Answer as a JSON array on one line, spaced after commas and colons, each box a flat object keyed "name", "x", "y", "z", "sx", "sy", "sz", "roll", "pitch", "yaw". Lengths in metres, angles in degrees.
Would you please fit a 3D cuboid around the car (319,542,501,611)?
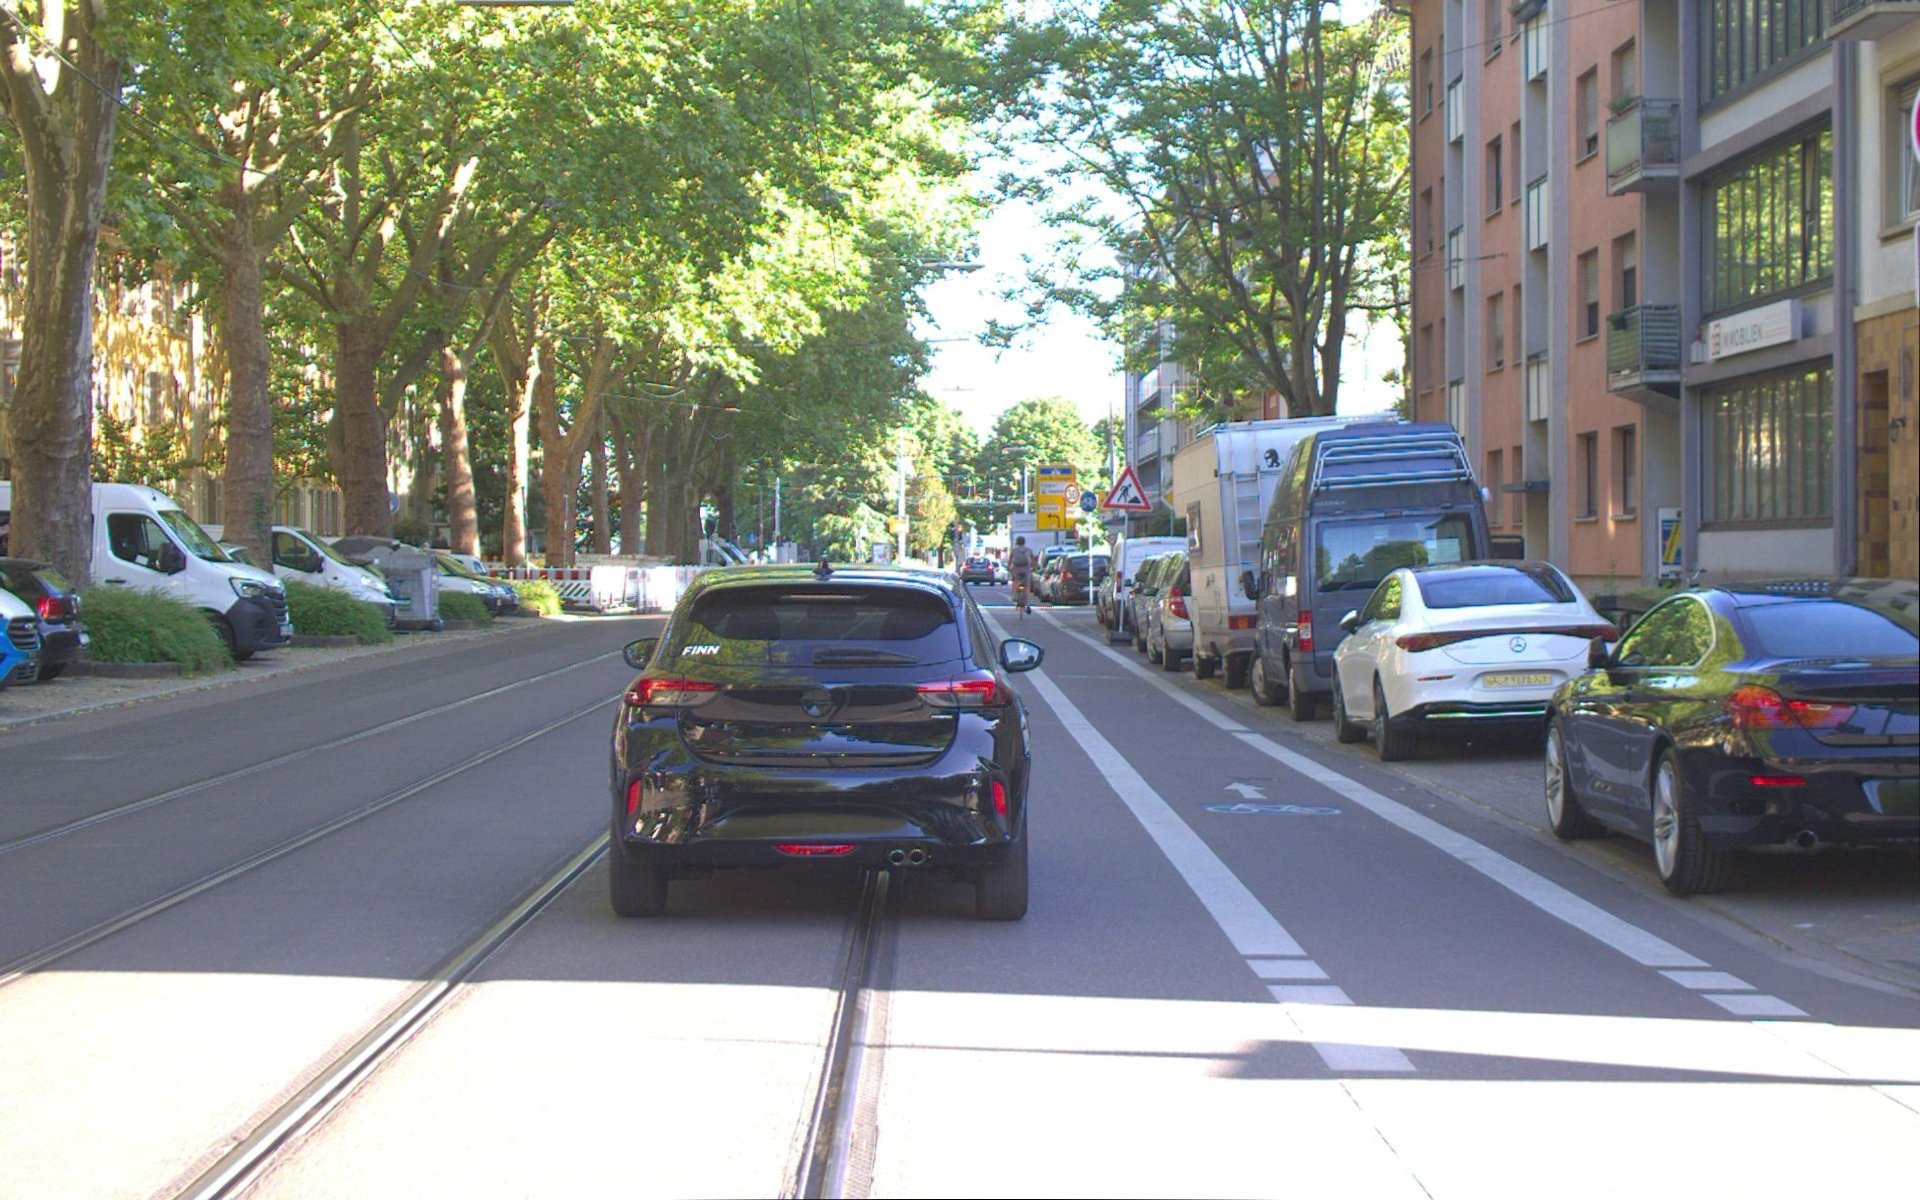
[{"name": "car", "x": -12.564, "y": -0.544, "z": 78.742, "sx": 3.847, "sy": 1.492, "sz": 1.862, "roll": -1, "pitch": 1, "yaw": 0}]

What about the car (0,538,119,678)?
[{"name": "car", "x": -11.706, "y": 0.070, "z": 39.449, "sx": 3.682, "sy": 1.559, "sz": 1.613, "roll": 0, "pitch": 1, "yaw": 3}]

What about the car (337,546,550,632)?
[{"name": "car", "x": -10.835, "y": -0.234, "z": 72.262, "sx": 4.198, "sy": 1.751, "sz": 1.740, "roll": 0, "pitch": 1, "yaw": 1}]

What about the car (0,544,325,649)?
[{"name": "car", "x": -11.246, "y": -0.061, "z": 48.385, "sx": 4.264, "sy": 1.394, "sz": 1.753, "roll": -1, "pitch": 1, "yaw": 0}]

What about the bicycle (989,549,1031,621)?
[{"name": "bicycle", "x": 1.108, "y": -0.359, "z": 77.006, "sx": 0.916, "sy": 1.555, "sz": 3.405, "roll": 0, "pitch": 1, "yaw": 0}]

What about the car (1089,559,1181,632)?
[{"name": "car", "x": 3.723, "y": -0.118, "z": 73.712, "sx": 1.705, "sy": 1.468, "sz": 4.000, "roll": -1, "pitch": 1, "yaw": 0}]

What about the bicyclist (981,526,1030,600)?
[{"name": "bicyclist", "x": 1.017, "y": -0.845, "z": 77.189, "sx": 1.089, "sy": 1.641, "sz": 1.400, "roll": 0, "pitch": 1, "yaw": 0}]

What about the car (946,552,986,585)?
[{"name": "car", "x": 0.314, "y": -1.706, "z": 184.929, "sx": 1.993, "sy": 1.690, "sz": 4.740, "roll": -2, "pitch": 1, "yaw": -1}]

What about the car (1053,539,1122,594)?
[{"name": "car", "x": 3.597, "y": -0.961, "z": 97.572, "sx": 1.733, "sy": 1.457, "sz": 3.916, "roll": -2, "pitch": 1, "yaw": -1}]

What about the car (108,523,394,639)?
[{"name": "car", "x": -12.139, "y": -0.334, "z": 59.094, "sx": 4.656, "sy": 1.938, "sz": 1.962, "roll": 0, "pitch": 1, "yaw": -6}]

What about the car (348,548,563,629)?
[{"name": "car", "x": -10.925, "y": -0.262, "z": 74.551, "sx": 4.235, "sy": 1.682, "sz": 1.933, "roll": -1, "pitch": 1, "yaw": 7}]

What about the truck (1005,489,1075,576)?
[{"name": "truck", "x": 3.203, "y": -2.704, "z": 139.269, "sx": 2.538, "sy": 3.326, "sz": 7.195, "roll": -3, "pitch": 1, "yaw": 0}]

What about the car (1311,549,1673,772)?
[{"name": "car", "x": 4.026, "y": 0.394, "z": 26.835, "sx": 1.993, "sy": 1.488, "sz": 4.740, "roll": -2, "pitch": 1, "yaw": -1}]

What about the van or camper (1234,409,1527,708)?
[{"name": "van or camper", "x": 4.045, "y": -0.427, "z": 33.921, "sx": 2.132, "sy": 2.654, "sz": 4.980, "roll": -2, "pitch": 1, "yaw": -1}]

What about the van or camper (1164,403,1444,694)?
[{"name": "van or camper", "x": 3.898, "y": -0.613, "z": 40.207, "sx": 2.462, "sy": 3.053, "sz": 6.268, "roll": -2, "pitch": 1, "yaw": -1}]

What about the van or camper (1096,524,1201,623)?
[{"name": "van or camper", "x": 3.697, "y": -0.557, "z": 67.982, "sx": 1.755, "sy": 1.858, "sz": 4.831, "roll": -1, "pitch": 1, "yaw": 0}]

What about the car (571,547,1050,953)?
[{"name": "car", "x": -0.581, "y": 0.533, "z": 14.848, "sx": 1.781, "sy": 1.491, "sz": 4.000, "roll": 0, "pitch": 1, "yaw": -1}]

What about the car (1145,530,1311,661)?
[{"name": "car", "x": 3.560, "y": -0.100, "z": 46.327, "sx": 1.793, "sy": 1.622, "sz": 4.277, "roll": -2, "pitch": 1, "yaw": -1}]

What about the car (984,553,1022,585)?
[{"name": "car", "x": 2.393, "y": -1.748, "z": 192.155, "sx": 1.993, "sy": 1.690, "sz": 4.740, "roll": -2, "pitch": 1, "yaw": -1}]

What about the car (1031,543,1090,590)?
[{"name": "car", "x": 3.205, "y": -1.102, "z": 110.713, "sx": 1.659, "sy": 1.394, "sz": 4.740, "roll": -2, "pitch": 1, "yaw": -1}]

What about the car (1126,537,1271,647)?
[{"name": "car", "x": 3.548, "y": -0.152, "z": 51.865, "sx": 1.788, "sy": 1.517, "sz": 4.322, "roll": -2, "pitch": 1, "yaw": -1}]

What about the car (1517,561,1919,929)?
[{"name": "car", "x": 4.072, "y": 0.561, "z": 16.298, "sx": 1.993, "sy": 1.376, "sz": 4.740, "roll": -2, "pitch": 1, "yaw": -1}]

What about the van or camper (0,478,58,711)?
[{"name": "van or camper", "x": -11.346, "y": -0.087, "z": 33.122, "sx": 4.819, "sy": 2.182, "sz": 2.120, "roll": 0, "pitch": 1, "yaw": -4}]

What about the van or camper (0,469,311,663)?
[{"name": "van or camper", "x": -11.641, "y": -0.475, "z": 46.051, "sx": 5.389, "sy": 2.507, "sz": 2.445, "roll": 0, "pitch": 1, "yaw": 2}]

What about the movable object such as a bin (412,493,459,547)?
[{"name": "movable object such as a bin", "x": -18.295, "y": -2.788, "z": 120.017, "sx": 1.333, "sy": 1.862, "sz": 2.008, "roll": 1, "pitch": 0, "yaw": 0}]
